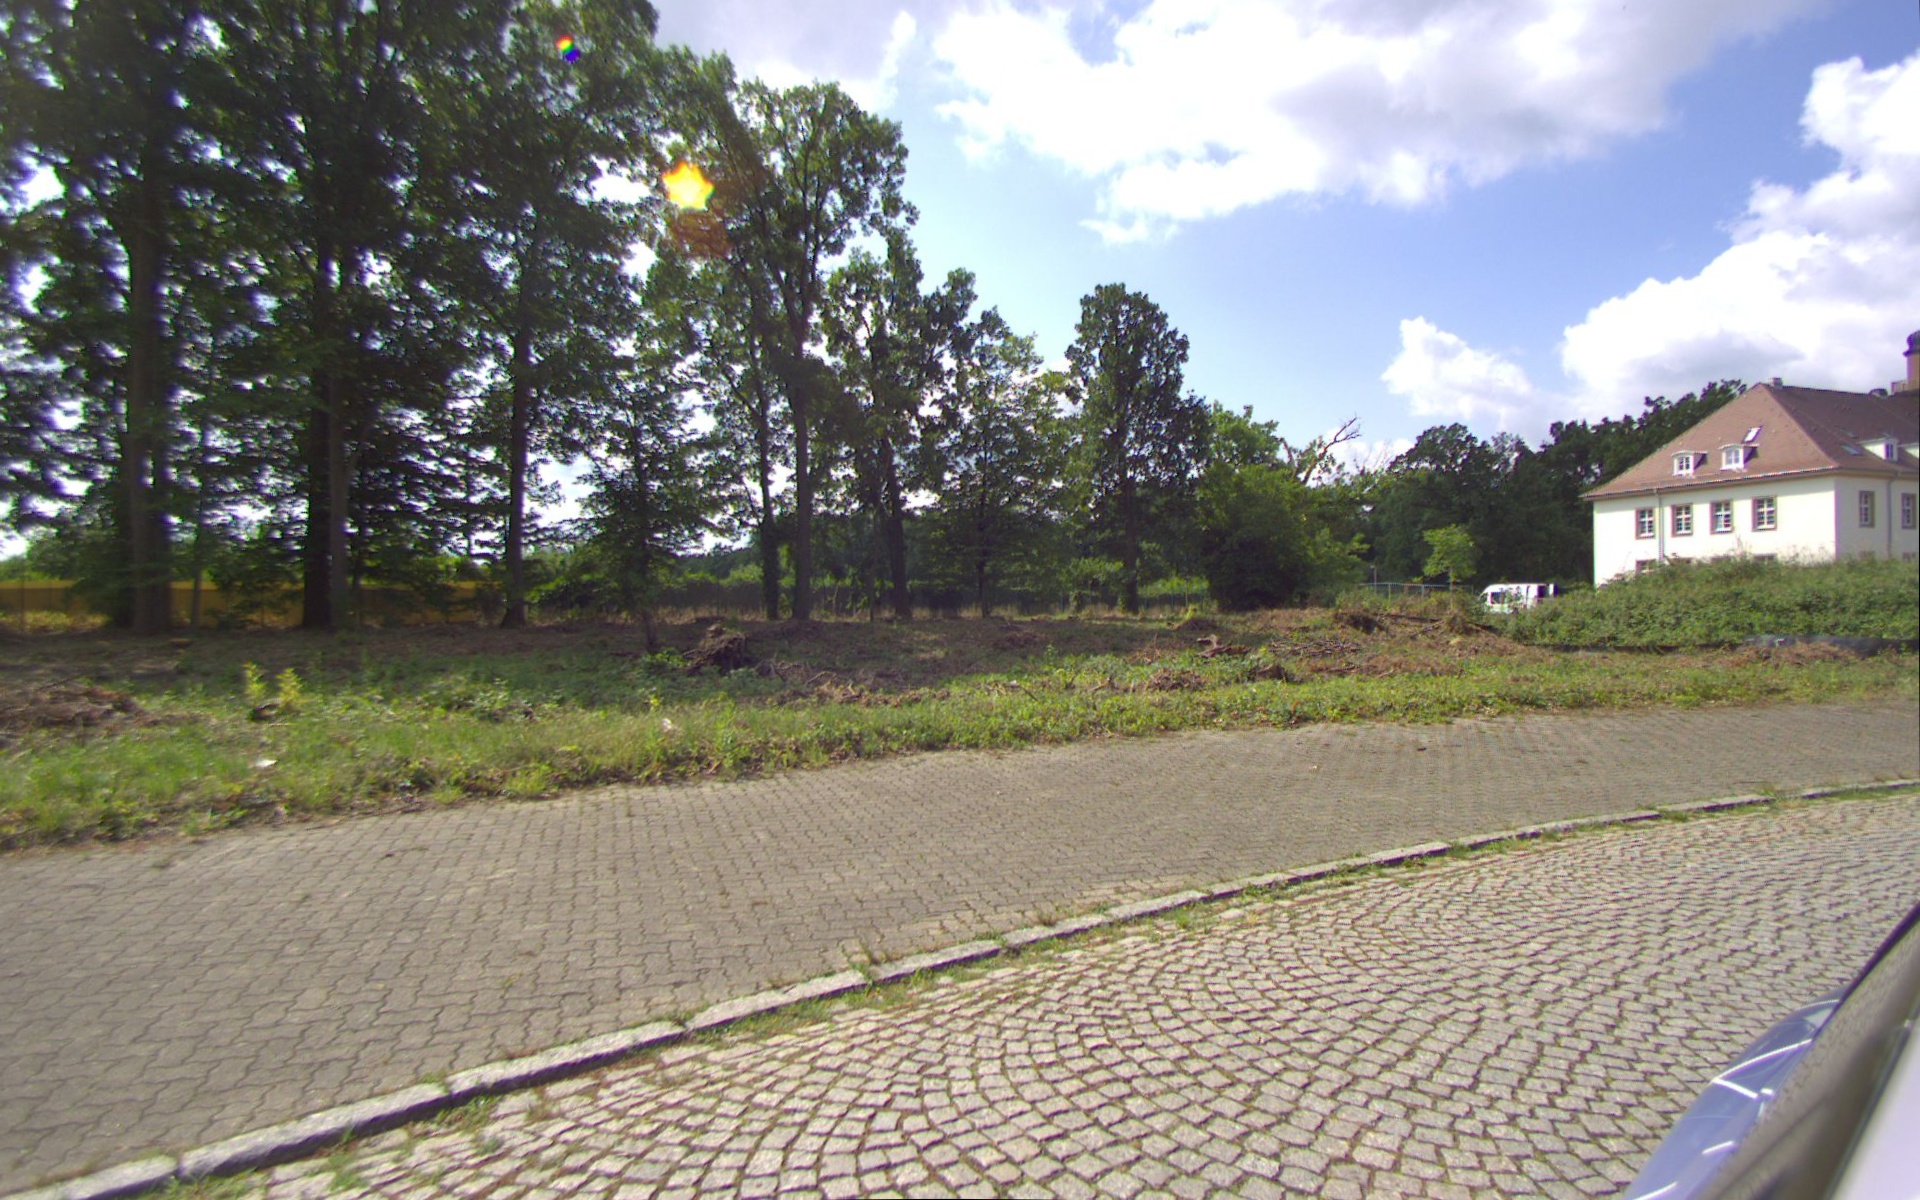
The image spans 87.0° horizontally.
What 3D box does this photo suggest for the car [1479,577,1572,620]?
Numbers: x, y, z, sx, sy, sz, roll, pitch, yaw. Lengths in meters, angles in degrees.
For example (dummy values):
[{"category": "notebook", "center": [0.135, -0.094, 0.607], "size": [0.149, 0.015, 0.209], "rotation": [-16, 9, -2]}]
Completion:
[{"category": "car", "center": [36.012, -0.082, 64.672], "size": [2.200, 2.624, 5.448], "rotation": [0, 0, -11]}]
